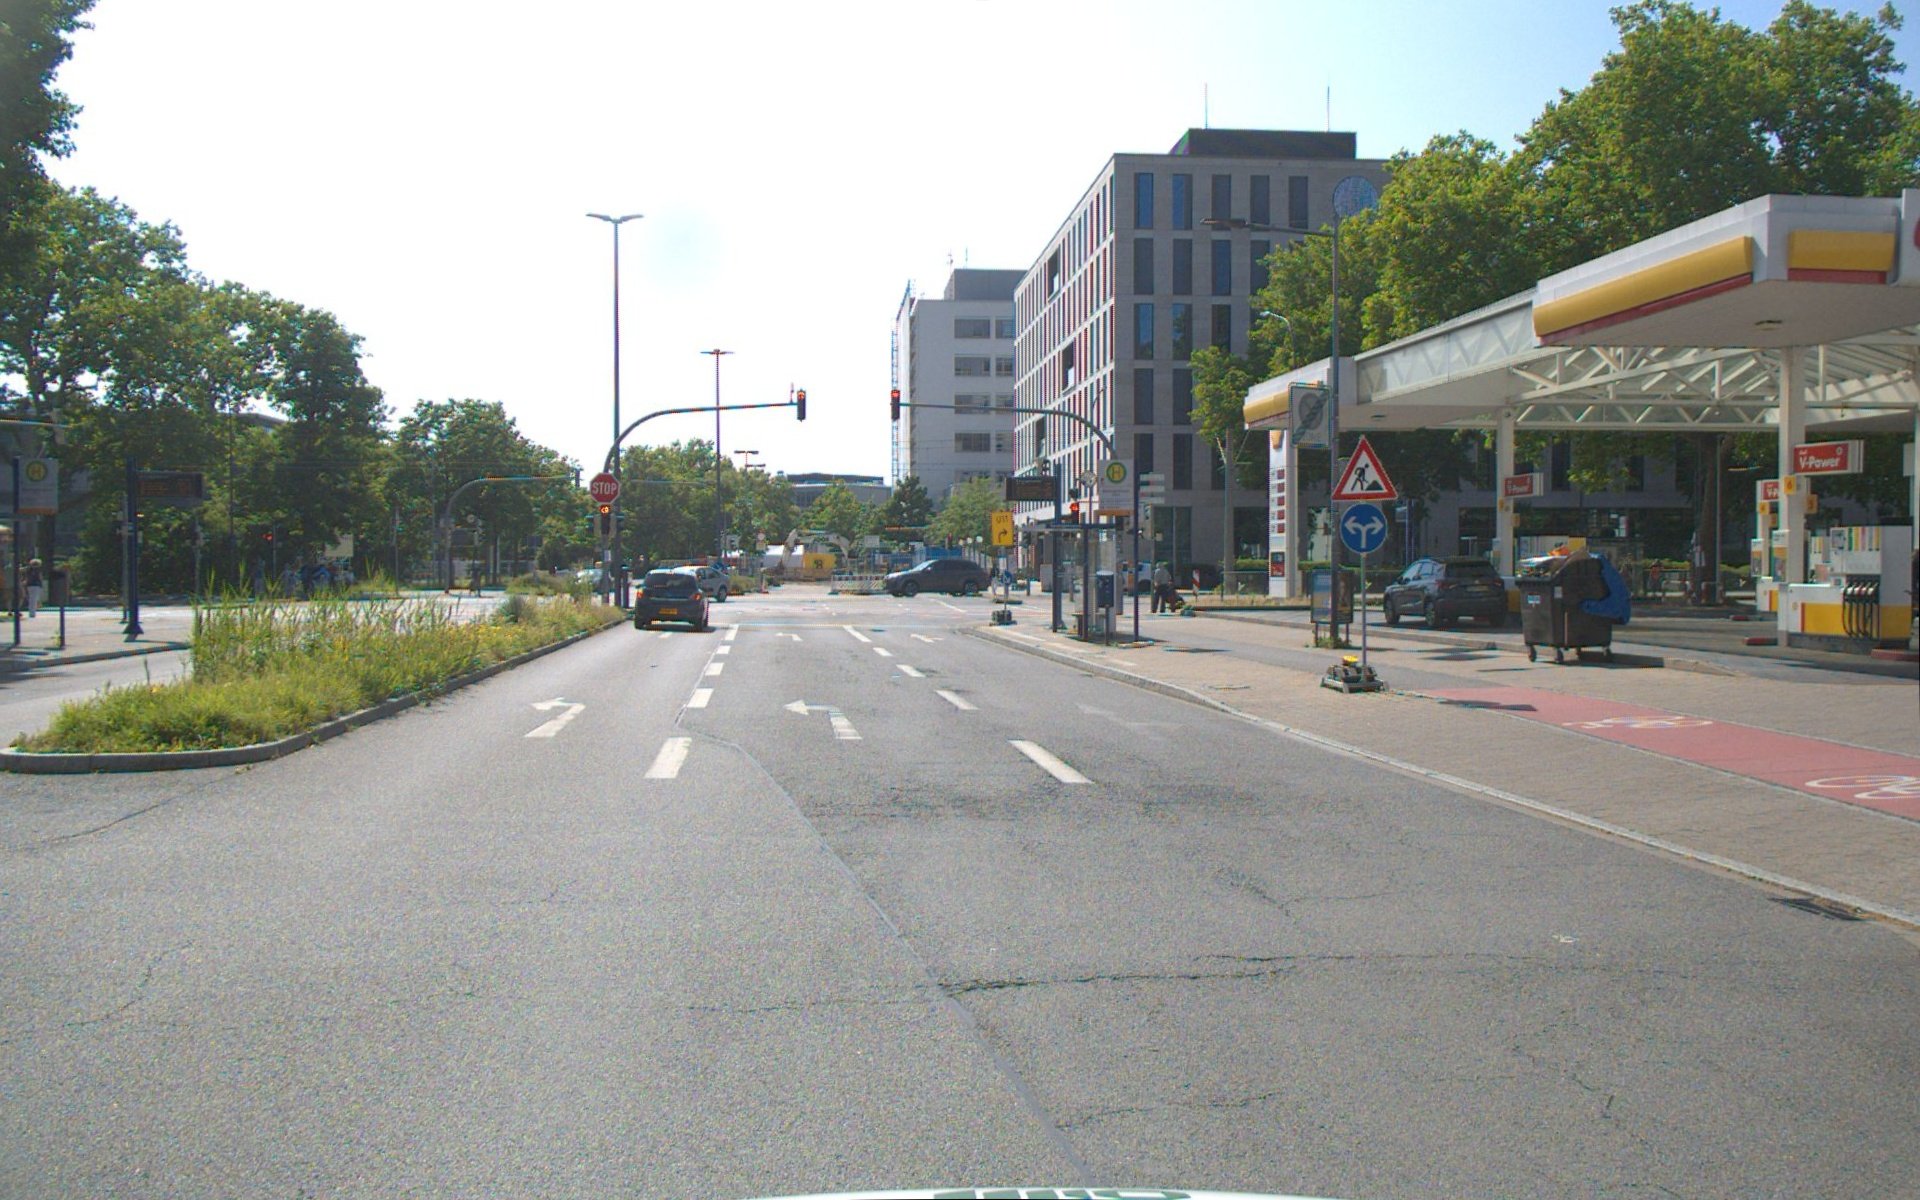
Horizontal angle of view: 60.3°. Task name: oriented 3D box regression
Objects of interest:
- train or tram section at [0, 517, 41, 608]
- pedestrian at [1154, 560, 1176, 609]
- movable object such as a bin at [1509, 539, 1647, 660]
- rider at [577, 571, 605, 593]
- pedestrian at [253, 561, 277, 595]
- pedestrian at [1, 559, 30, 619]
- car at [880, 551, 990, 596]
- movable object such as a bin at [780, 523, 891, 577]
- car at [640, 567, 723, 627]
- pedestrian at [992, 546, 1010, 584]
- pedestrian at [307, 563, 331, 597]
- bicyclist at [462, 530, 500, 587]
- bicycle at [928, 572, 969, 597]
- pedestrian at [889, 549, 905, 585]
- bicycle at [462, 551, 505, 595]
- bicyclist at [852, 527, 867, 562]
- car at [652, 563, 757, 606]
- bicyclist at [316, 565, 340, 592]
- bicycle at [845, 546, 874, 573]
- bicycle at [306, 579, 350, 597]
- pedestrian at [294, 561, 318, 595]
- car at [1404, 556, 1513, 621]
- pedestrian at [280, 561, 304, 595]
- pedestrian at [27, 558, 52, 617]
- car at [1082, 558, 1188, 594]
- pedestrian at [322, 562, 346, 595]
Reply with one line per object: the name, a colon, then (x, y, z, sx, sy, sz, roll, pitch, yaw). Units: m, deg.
train or tram section: (-39.655, -1.421, 63.024, 7.414, 3.390, 3.114, 0, 1, -9)
pedestrian: (6.548, -0.506, 52.857, 0.606, 1.570, 0.461, 0, 1, -8)
movable object such as a bin: (8.843, -0.025, 23.729, 1.283, 1.619, 1.393, -3, 1, -9)
rider: (-21.296, -1.061, 95.480, 1.366, 1.216, 2.692, 0, 1, -9)
pedestrian: (-34.001, -1.063, 80.954, 0.640, 1.639, 0.942, 1, 1, 16)
pedestrian: (-28.223, -0.336, 49.428, 0.650, 1.756, 0.747, -1, 1, -24)
car: (-1.170, -1.230, 76.755, 4.774, 2.049, 1.992, 0, 1, -15)
movable object such as a bin: (-10.869, -4.378, 144.334, 9.487, 4.629, 3.161, 0, 1, -5)
car: (-7.032, -0.114, 41.762, 1.957, 1.422, 3.991, 0, 1, -10)
pedestrian: (2.203, -1.868, 89.036, 0.762, 2.048, 0.777, 1, 1, 22)
pedestrian: (-31.357, -0.986, 80.939, 0.640, 1.639, 0.942, 1, 1, 16)
bicyclist: (-25.177, -2.169, 86.962, 1.569, 2.982, 2.350, 0, 1, -7)
bicycle: (-0.638, -0.851, 90.156, 2.183, 1.307, 0.525, 0, 1, 1)
pedestrian: (-3.540, -1.840, 92.479, 0.775, 2.049, 0.539, 0, 1, -17)
bicycle: (-25.263, -1.431, 87.779, 1.569, 2.308, 3.994, 0, 1, -7)
bicyclist: (-7.512, -4.137, 123.667, 1.048, 2.619, 0.827, 0, 1, -1)
car: (-10.286, -0.655, 66.927, 1.956, 1.667, 4.389, 0, 1, 29)
bicyclist: (-30.559, -1.038, 79.957, 1.035, 1.297, 0.490, 0, 1, -17)
bicycle: (-7.512, -3.052, 123.673, 2.045, 1.996, 0.827, 1, 1, -1)
bicycle: (-30.553, -0.585, 79.959, 1.968, 0.899, 0.524, 0, 1, -17)
pedestrian: (-32.279, -1.079, 81.631, 0.640, 1.639, 0.942, 1, 1, 16)
car: (11.357, -0.279, 37.918, 1.615, 1.422, 3.644, 0, 1, 4)
pedestrian: (-32.930, -1.076, 81.531, 0.640, 1.639, 0.942, 1, 1, 16)
pedestrian: (-27.660, -0.368, 49.709, 0.559, 1.756, 0.728, -1, 1, -24)
car: (8.387, -1.152, 79.429, 4.763, 1.665, 1.996, 0, 1, -9)
pedestrian: (-31.059, -1.086, 82.081, 0.652, 1.639, 0.942, 1, 1, 16)
